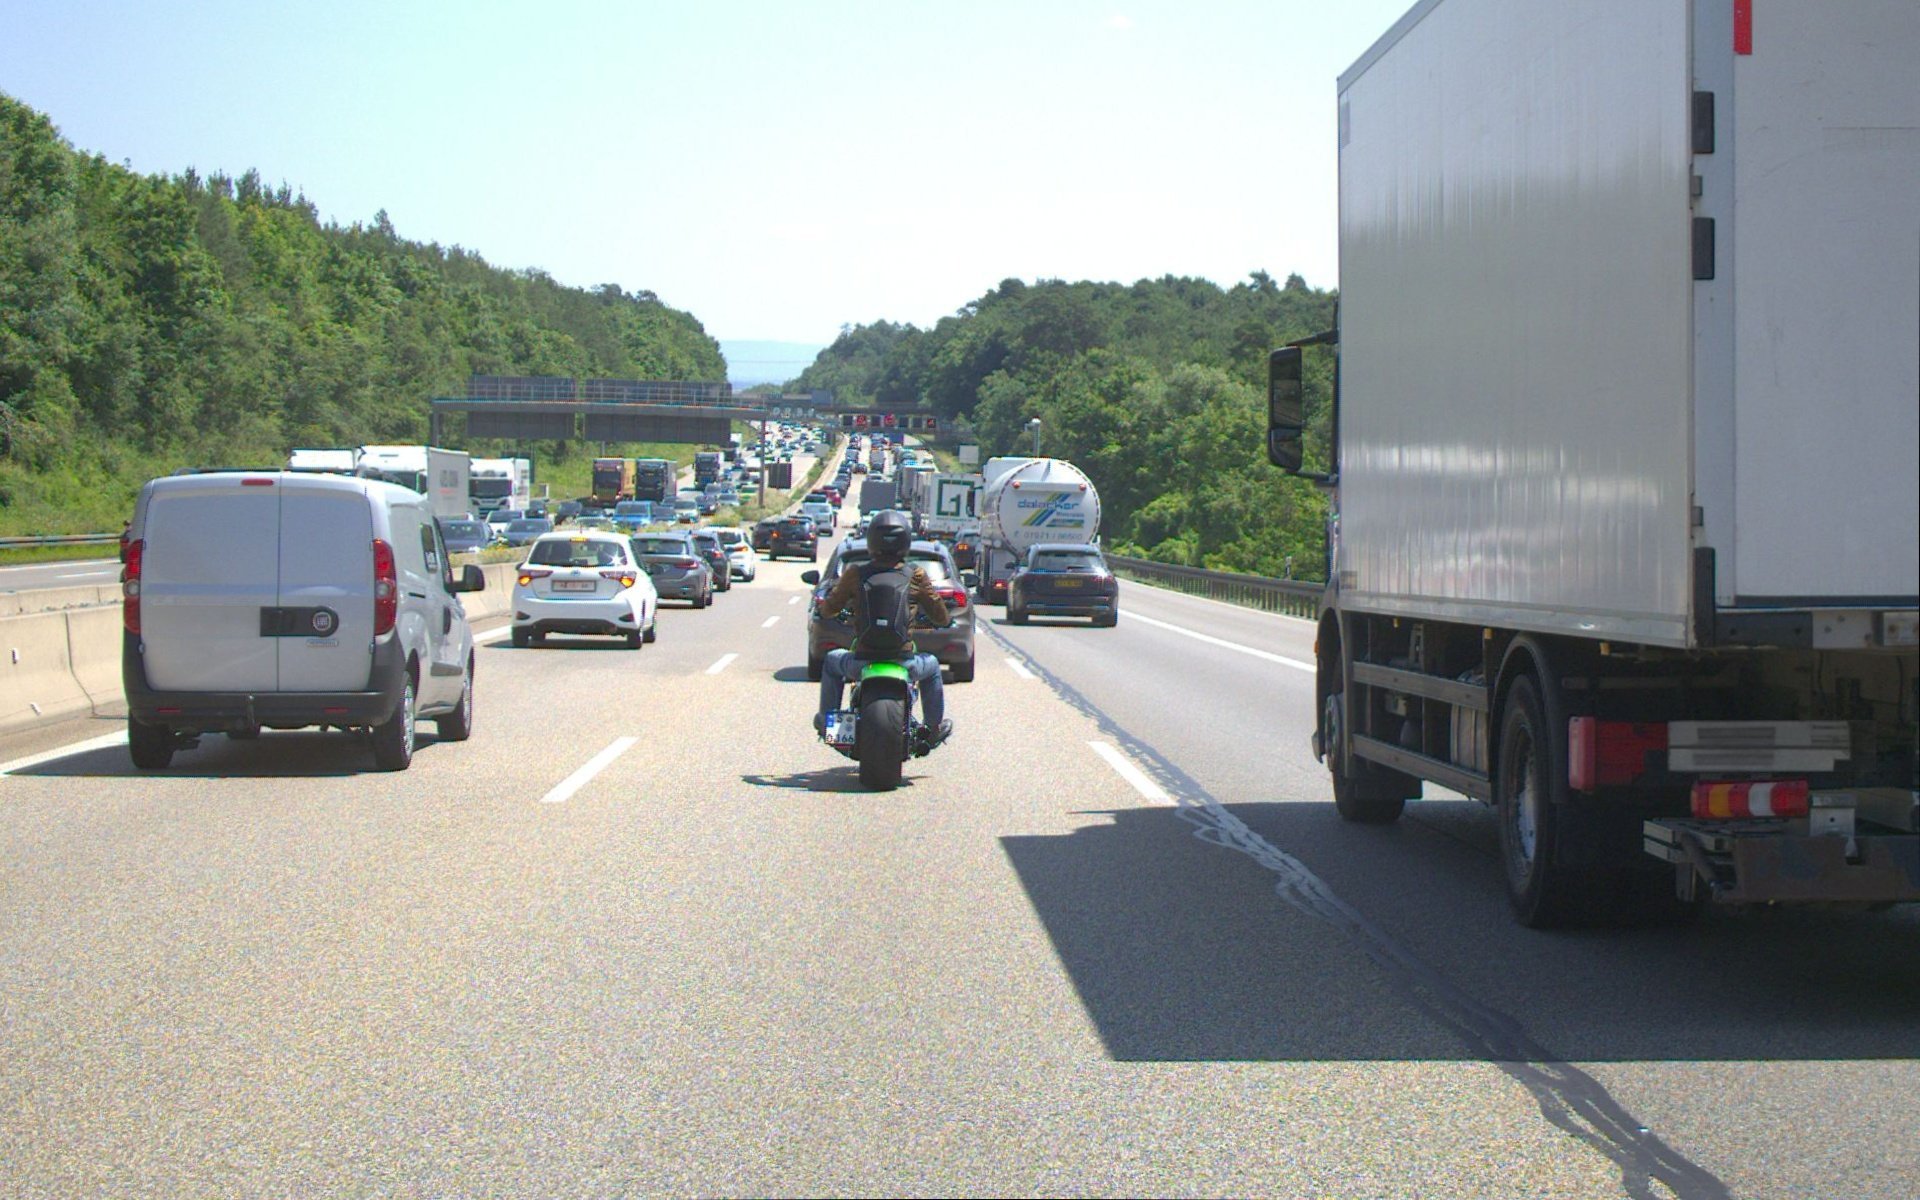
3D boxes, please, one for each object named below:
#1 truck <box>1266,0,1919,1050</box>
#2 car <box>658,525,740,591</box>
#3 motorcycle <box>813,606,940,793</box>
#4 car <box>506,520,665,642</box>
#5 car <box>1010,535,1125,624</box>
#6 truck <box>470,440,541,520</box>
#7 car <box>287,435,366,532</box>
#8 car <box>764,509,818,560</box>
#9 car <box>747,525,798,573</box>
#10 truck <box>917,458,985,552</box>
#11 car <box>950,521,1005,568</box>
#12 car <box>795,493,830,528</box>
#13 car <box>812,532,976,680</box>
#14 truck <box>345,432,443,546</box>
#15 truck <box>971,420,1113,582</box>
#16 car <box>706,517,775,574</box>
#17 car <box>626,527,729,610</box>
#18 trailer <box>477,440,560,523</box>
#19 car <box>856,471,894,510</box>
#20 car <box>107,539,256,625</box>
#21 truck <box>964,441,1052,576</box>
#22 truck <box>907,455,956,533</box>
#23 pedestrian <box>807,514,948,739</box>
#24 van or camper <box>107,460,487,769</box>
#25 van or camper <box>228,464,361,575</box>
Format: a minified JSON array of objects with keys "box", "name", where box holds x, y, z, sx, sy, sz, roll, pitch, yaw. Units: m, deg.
[{"box":[3.303,-0.712,15.103,2.688,3.863,9.781,-1,1,-2],"name":"truck"},{"box":[-6.258,-1.034,82.750,1.699,1.473,4.001,2,2,-1],"name":"car"},{"box":[-0.496,0.583,21.167,0.691,1.012,2.121,2,1,0],"name":"motorcycle"},{"box":[-4.900,-0.289,45.394,1.699,1.473,4.001,2,2,-1],"name":"car"},{"box":[1.930,-0.402,62.650,1.828,1.465,4.001,3,1,-1],"name":"car"},{"box":[-24.861,-6.544,188.425,2.803,4.151,7.600,0,1,1],"name":"truck"},{"box":[-25.726,-4.694,139.747,2.449,3.860,4.566,0,1,-2],"name":"car"},{"box":[-6.515,-2.552,132.700,1.880,1.853,4.000,2,1,-1],"name":"car"},{"box":[-8.007,-2.169,147.276,1.993,2.007,4.000,0,1,-1],"name":"car"},{"box":[-0.519,-4.855,175.861,3.033,4.526,9.984,3,1,-1],"name":"truck"},{"box":[0.612,-1.960,120.618,1.787,1.550,3.804,2,2,-1],"name":"car"},{"box":[-8.604,-5.221,200.763,1.929,2.007,4.000,0,1,-1],"name":"car"},{"box":[-0.666,0.023,37.214,1.533,1.504,4.000,0,1,2],"name":"car"},{"box":[-21.560,-4.218,131.156,2.840,4.199,5.660,1,1,-1],"name":"truck"},{"box":[1.868,-2.293,82.646,2.988,3.659,9.288,0,1,-1],"name":"truck"},{"box":[-6.061,-1.522,95.442,1.699,1.473,4.001,2,2,-1],"name":"car"},{"box":[-5.446,-0.638,66.615,1.699,1.473,4.001,2,2,-1],"name":"car"},{"box":[-24.876,-6.626,194.445,2.803,4.323,14.037,0,1,0],"name":"trailer"},{"box":[-5.881,-7.589,238.574,2.504,2.578,5.017,2,2,-1],"name":"car"},{"box":[-13.133,-0.331,58.210,1.614,1.371,4.271,0,1,-1],"name":"car"},{"box":[1.252,-2.399,91.702,1.993,3.510,4.752,0,1,-4],"name":"truck"},{"box":[-2.000,-7.305,236.741,3.033,5.121,9.984,3,1,-1],"name":"truck"},{"box":[-0.499,0.152,21.213,0.849,1.357,0.961,0,1,0],"name":"pedestrian"},{"box":[-4.341,0.065,23.109,1.796,1.886,4.160,0,1,-1],"name":"van or camper"},{"box":[-17.207,-2.085,89.206,2.230,2.751,6.837,0,1,-1],"name":"van or camper"}]
